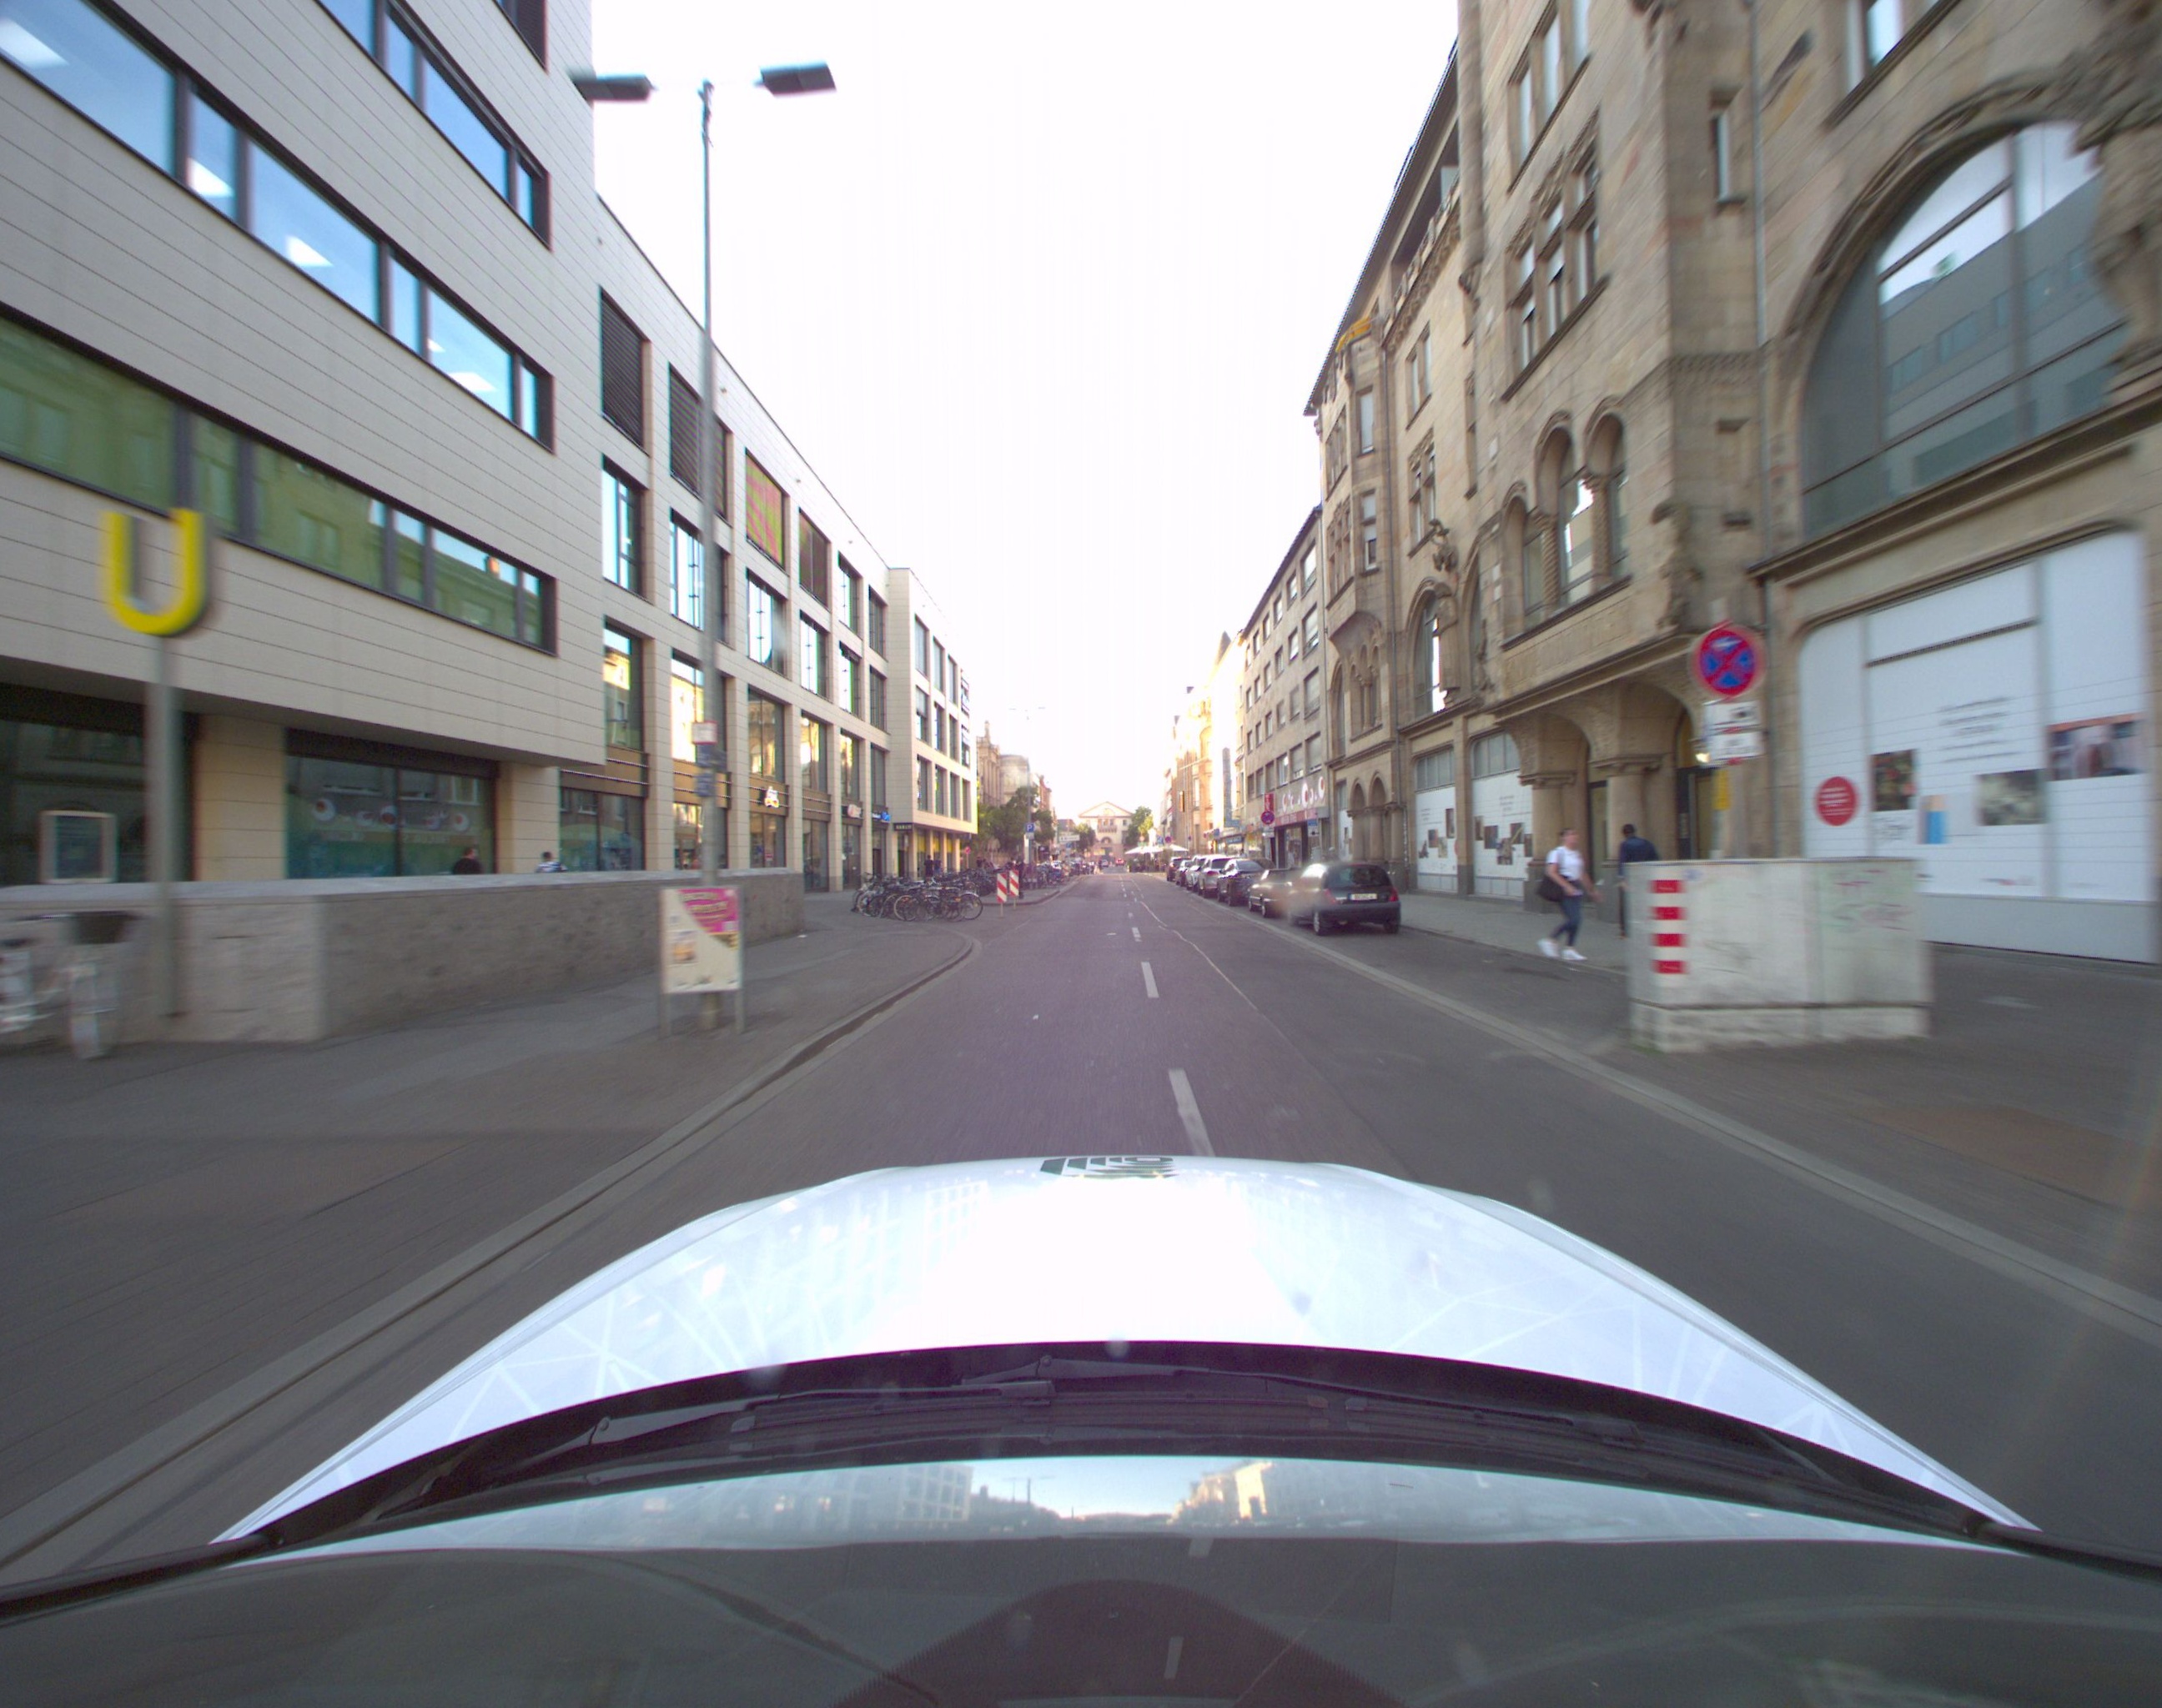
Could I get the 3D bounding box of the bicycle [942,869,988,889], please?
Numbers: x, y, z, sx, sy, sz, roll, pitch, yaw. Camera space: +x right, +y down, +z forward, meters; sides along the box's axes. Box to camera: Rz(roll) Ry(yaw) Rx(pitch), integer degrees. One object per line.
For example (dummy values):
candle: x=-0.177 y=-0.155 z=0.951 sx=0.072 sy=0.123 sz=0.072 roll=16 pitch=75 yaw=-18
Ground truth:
bicycle: x=-5.850 y=1.257 z=41.103 sx=2.139 sy=0.953 sz=0.641 roll=-1 pitch=-1 yaw=3

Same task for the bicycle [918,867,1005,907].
bicycle: x=-4.170 y=1.130 z=28.502 sx=2.900 sy=1.255 sz=0.797 roll=-1 pitch=-1 yaw=-24

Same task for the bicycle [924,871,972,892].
bicycle: x=-6.312 y=1.304 z=38.695 sx=2.139 sy=0.953 sz=0.641 roll=-1 pitch=-1 yaw=3

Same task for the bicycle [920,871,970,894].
bicycle: x=-6.148 y=1.287 z=36.882 sx=2.139 sy=0.953 sz=0.641 roll=-1 pitch=-1 yaw=3

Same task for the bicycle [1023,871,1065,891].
bicycle: x=-1.935 y=1.409 z=42.788 sx=2.139 sy=0.953 sz=0.641 roll=-1 pitch=-1 yaw=3

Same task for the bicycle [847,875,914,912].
bicycle: x=-6.358 y=1.252 z=25.872 sx=1.978 sy=1.122 sz=0.553 roll=0 pitch=-1 yaw=-27

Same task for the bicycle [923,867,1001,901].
bicycle: x=-4.686 y=1.166 z=32.180 sx=2.900 sy=1.255 sz=0.797 roll=-1 pitch=-1 yaw=-24

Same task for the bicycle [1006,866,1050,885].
bicycle: x=-2.671 y=1.089 z=41.371 sx=2.139 sy=0.953 sz=0.641 roll=-1 pitch=-1 yaw=3

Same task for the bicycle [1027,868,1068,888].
bicycle: x=-1.800 y=1.294 z=43.698 sx=2.139 sy=1.029 sz=0.641 roll=-1 pitch=-1 yaw=3

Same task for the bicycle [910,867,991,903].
bicycle: x=-4.899 y=1.151 z=30.712 sx=2.900 sy=1.255 sz=0.797 roll=-1 pitch=-1 yaw=-24

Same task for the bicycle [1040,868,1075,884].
bicycle: x=-1.529 y=1.439 z=53.094 sx=2.139 sy=1.029 sz=0.641 roll=-1 pitch=-1 yaw=3

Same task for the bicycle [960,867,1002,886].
bicycle: x=-5.319 y=1.177 z=43.371 sx=2.139 sy=0.953 sz=0.641 roll=-1 pitch=-1 yaw=3

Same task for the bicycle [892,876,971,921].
bicycle: x=-3.922 y=1.141 z=21.410 sx=1.978 sy=1.122 sz=0.553 roll=0 pitch=-1 yaw=-27

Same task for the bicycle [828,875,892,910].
bicycle: x=-7.318 y=1.261 z=26.946 sx=1.978 sy=1.122 sz=0.553 roll=0 pitch=-1 yaw=-27

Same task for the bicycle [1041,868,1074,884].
bicycle: x=-1.556 y=1.446 z=53.821 sx=2.139 sy=1.029 sz=0.641 roll=-1 pitch=-1 yaw=3

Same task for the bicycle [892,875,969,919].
bicycle: x=-4.089 y=1.148 z=22.132 sx=1.978 sy=1.122 sz=0.553 roll=0 pitch=-1 yaw=-27

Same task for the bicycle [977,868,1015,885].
bicycle: x=-4.980 y=1.325 z=47.914 sx=2.139 sy=0.953 sz=0.641 roll=-1 pitch=-1 yaw=3

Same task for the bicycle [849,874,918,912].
bicycle: x=-6.042 y=1.172 z=24.916 sx=1.978 sy=1.122 sz=0.553 roll=0 pitch=-1 yaw=-27

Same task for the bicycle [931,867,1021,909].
bicycle: x=-3.521 y=1.120 z=27.399 sx=2.900 sy=1.255 sz=0.797 roll=-1 pitch=-1 yaw=-24

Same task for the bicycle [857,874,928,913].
bicycle: x=-5.611 y=1.167 z=24.299 sx=1.978 sy=1.122 sz=0.553 roll=0 pitch=-1 yaw=-27

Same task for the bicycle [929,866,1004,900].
bicycle: x=-4.660 y=1.175 z=33.155 sx=2.900 sy=1.255 sz=0.797 roll=-1 pitch=-1 yaw=-24

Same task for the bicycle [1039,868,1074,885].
bicycle: x=-1.532 y=1.421 z=51.287 sx=2.139 sy=1.029 sz=0.641 roll=-1 pitch=-1 yaw=3

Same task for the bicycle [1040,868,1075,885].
bicycle: x=-1.513 y=1.429 z=52.057 sx=2.139 sy=1.029 sz=0.641 roll=-1 pitch=-1 yaw=3

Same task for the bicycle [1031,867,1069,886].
bicycle: x=-1.823 y=1.335 z=47.911 sx=2.139 sy=1.029 sz=0.641 roll=-1 pitch=-1 yaw=3

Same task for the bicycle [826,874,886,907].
bicycle: x=-8.044 y=1.281 z=29.139 sx=1.978 sy=1.122 sz=0.553 roll=0 pitch=-1 yaw=-27

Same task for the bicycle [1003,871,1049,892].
bicycle: x=-2.685 y=1.324 z=39.842 sx=2.139 sy=0.953 sz=0.641 roll=-1 pitch=-1 yaw=3

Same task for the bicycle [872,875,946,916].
bicycle: x=-4.859 y=1.155 z=23.008 sx=1.978 sy=1.122 sz=0.553 roll=0 pitch=-1 yaw=-27

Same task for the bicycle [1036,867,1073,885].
bicycle: x=-1.585 y=1.350 z=49.426 sx=2.139 sy=1.029 sz=0.641 roll=-1 pitch=-1 yaw=3

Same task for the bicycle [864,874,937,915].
bicycle: x=-5.237 y=1.161 z=23.661 sx=1.978 sy=1.122 sz=0.553 roll=0 pitch=-1 yaw=-27

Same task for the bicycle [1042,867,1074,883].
bicycle: x=-1.586 y=1.475 z=56.793 sx=2.139 sy=1.029 sz=0.641 roll=-1 pitch=-1 yaw=3

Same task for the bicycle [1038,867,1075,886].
bicycle: x=-1.448 y=1.343 z=48.692 sx=2.139 sy=1.029 sz=0.641 roll=-1 pitch=-1 yaw=3
